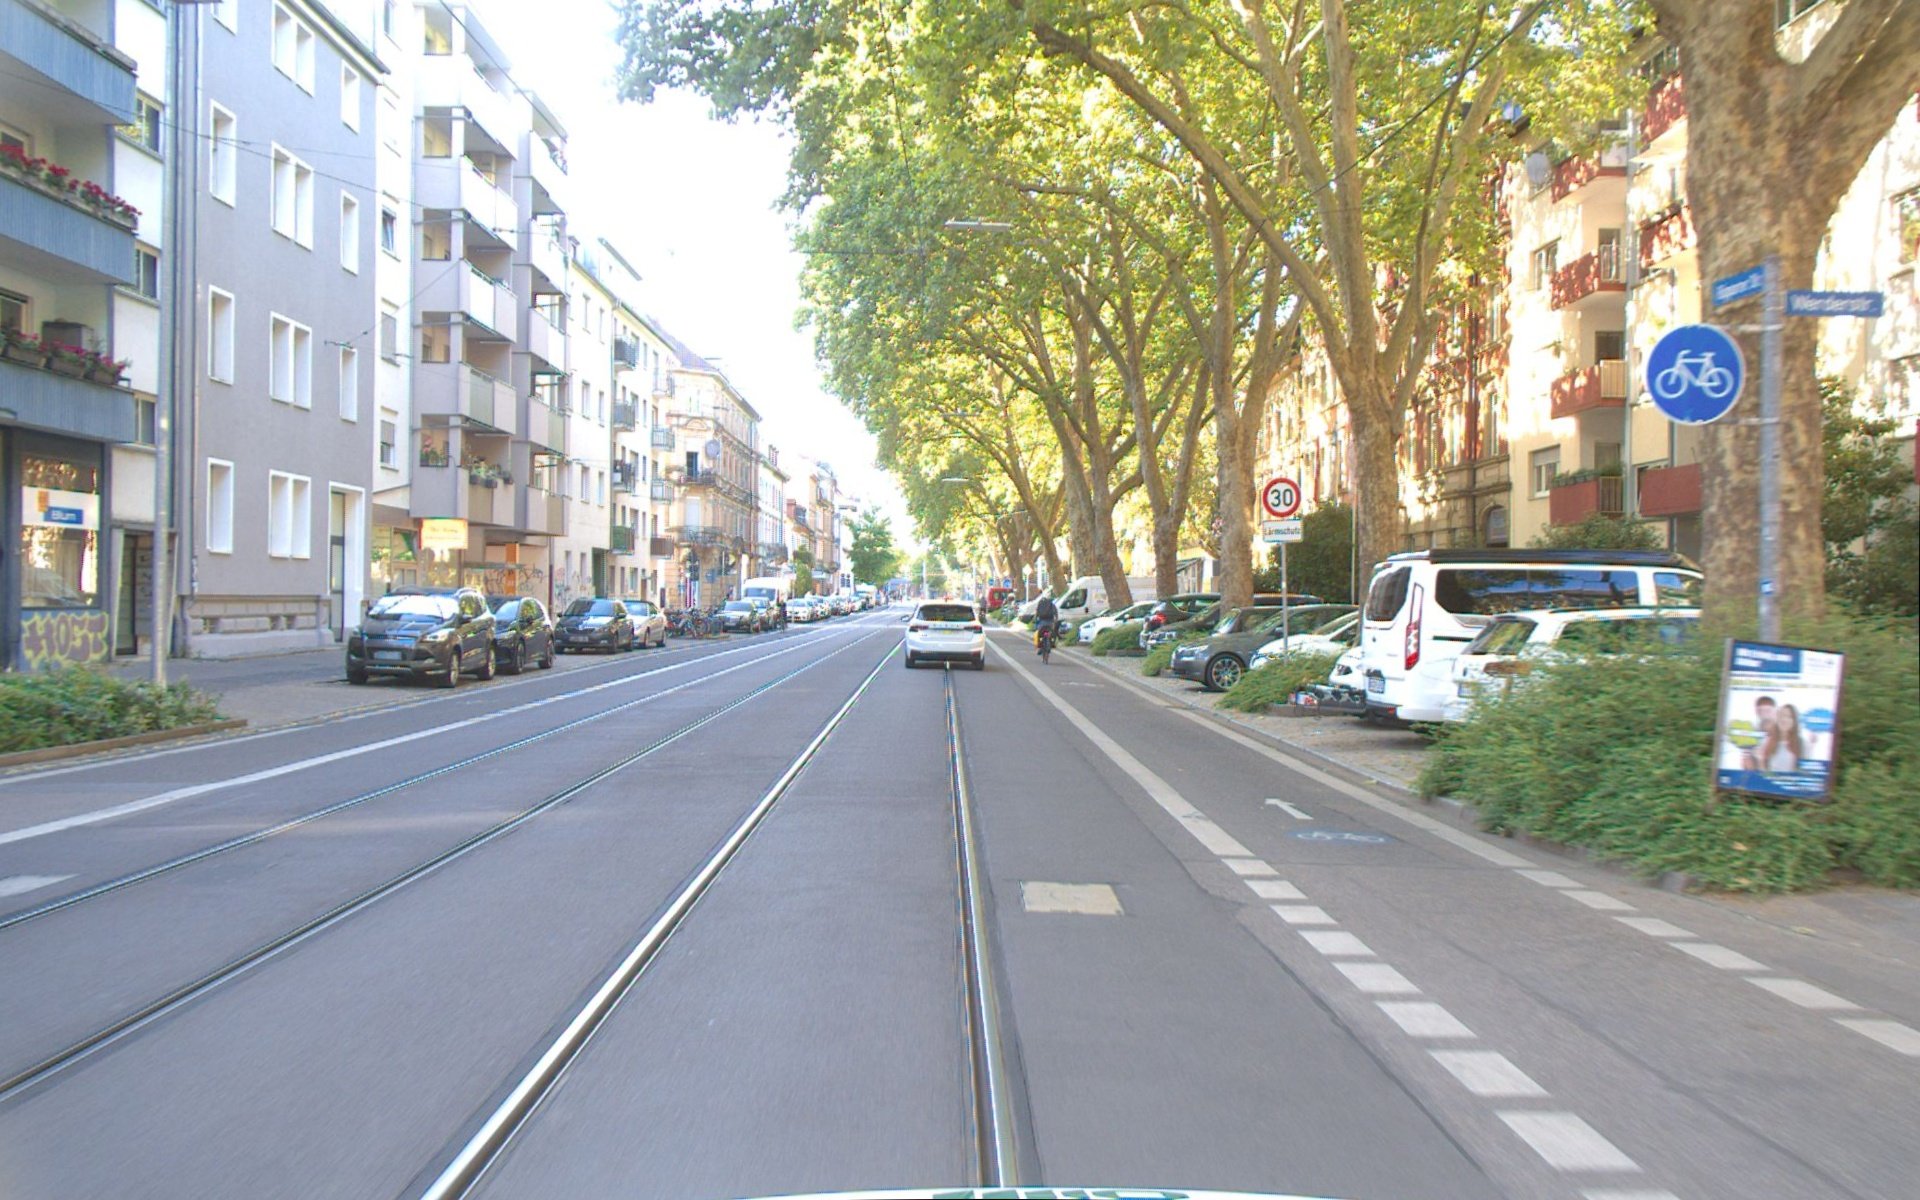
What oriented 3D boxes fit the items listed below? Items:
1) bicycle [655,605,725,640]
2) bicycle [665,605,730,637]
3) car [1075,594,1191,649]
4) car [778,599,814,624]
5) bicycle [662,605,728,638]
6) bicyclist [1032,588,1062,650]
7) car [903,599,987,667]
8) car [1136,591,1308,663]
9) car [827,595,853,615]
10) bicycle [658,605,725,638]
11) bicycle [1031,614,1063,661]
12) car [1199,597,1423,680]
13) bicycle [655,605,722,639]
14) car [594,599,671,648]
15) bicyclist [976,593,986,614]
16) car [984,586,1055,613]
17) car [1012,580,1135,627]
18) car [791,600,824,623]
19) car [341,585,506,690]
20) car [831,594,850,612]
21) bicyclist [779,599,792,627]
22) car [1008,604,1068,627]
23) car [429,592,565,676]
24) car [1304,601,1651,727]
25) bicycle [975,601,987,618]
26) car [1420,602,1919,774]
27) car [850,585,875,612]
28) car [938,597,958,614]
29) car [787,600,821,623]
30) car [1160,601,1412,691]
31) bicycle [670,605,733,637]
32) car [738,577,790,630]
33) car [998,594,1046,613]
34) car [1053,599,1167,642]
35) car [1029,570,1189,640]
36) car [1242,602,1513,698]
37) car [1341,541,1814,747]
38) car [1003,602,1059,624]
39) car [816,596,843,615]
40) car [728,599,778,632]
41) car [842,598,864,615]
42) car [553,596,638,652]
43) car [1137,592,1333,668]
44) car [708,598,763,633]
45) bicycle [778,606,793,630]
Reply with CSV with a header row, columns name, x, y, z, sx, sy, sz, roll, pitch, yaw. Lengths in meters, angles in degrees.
name,x,y,z,sx,sy,sz,roll,pitch,yaw
bicycle,-10.261,0.860,62.841,2.510,1.193,0.870,4,-2,-41
bicycle,-10.494,0.848,66.270,2.476,1.193,0.718,2,-2,-6
car,5.490,0.670,52.851,3.559,1.695,1.822,0,0,1
car,-10.553,0.722,106.748,1.953,1.557,3.999,0,0,-1
bicycle,-10.479,0.849,65.421,2.476,1.193,0.718,2,-2,-6
bicyclist,2.086,0.458,39.734,0.664,1.468,1.047,0,0,0
car,-0.329,0.675,35.959,1.725,1.408,3.999,0,0,-1
car,6.337,0.637,40.253,3.906,1.709,1.723,0,0,-2
car,-10.374,0.471,142.752,1.953,1.668,3.999,1,-1,-1
bicycle,-10.441,0.852,64.434,2.476,1.193,0.718,2,-2,-6
bicycle,2.088,0.903,39.883,0.667,1.089,1.781,0,0,0
car,6.687,0.723,31.785,3.906,1.540,1.760,0,0,-2
bicycle,-10.415,0.852,63.548,2.477,1.193,0.718,2,-2,-7
car,-9.952,0.689,50.489,1.454,1.428,3.991,0,0,1
bicyclist,1.348,0.232,106.593,0.636,1.367,0.934,0,0,-3
car,5.190,-0.008,143.945,6.007,2.322,2.528,0,0,-3
car,5.701,0.157,83.729,6.007,2.322,2.528,0,0,-3
car,-10.650,0.796,115.899,1.953,1.557,3.999,0,0,-1
car,-9.560,0.623,29.816,1.668,1.679,4.240,3,0,-2
car,-13.532,0.367,187.807,1.953,2.049,3.999,0,0,-1
bicyclist,-8.080,0.597,76.584,0.585,1.308,0.916,0,0,-4
car,5.308,1.073,113.188,3.967,1.567,2.000,0,0,-1
car,-9.678,0.673,34.887,1.668,1.571,4.241,3,0,-1
car,6.445,0.770,20.841,3.820,1.505,1.722,0,0,-4
bicycle,1.354,0.603,106.579,0.636,1.089,1.582,0,0,-3
car,6.690,0.784,15.554,4.210,1.505,1.830,0,0,-2
car,-12.324,-0.160,209.284,2.908,3.211,5.846,1,-1,-1
car,-1.059,0.501,147.758,1.725,1.501,4.000,0,0,0
car,-10.472,0.759,110.976,1.953,1.557,3.999,0,0,-1
car,5.712,0.791,29.327,4.059,1.540,1.930,0,0,-2
bicycle,-10.502,0.856,67.324,2.477,1.193,0.718,2,-2,-7
car,-10.208,0.177,86.428,2.134,2.642,4.948,0,0,-1
car,5.200,0.266,139.252,3.967,1.567,2.000,0,0,-1
car,5.628,0.756,62.273,3.972,1.567,1.997,0,0,-7
car,5.827,0.211,65.111,6.007,2.681,2.528,0,0,-3
car,6.760,0.785,27.093,3.954,1.505,1.923,0,0,-1
car,6.643,0.455,18.132,4.453,2.113,1.999,0,0,-3
car,5.124,0.944,119.735,3.967,1.567,2.000,0,0,-1
car,-10.747,0.436,136.056,1.953,1.557,3.999,0,0,-1
car,-10.033,0.719,80.485,1.953,1.557,3.999,0,0,-1
car,-10.915,0.673,168.570,1.953,1.668,3.999,1,-1,-1
car,-9.984,0.628,45.480,1.620,1.462,3.835,0,0,-2
car,6.260,0.670,37.946,4.149,1.695,1.847,0,0,-2
car,-10.110,0.675,74.703,1.953,1.557,3.999,0,0,-1
bicycle,-8.074,0.827,76.523,0.593,1.089,1.582,0,0,-3
